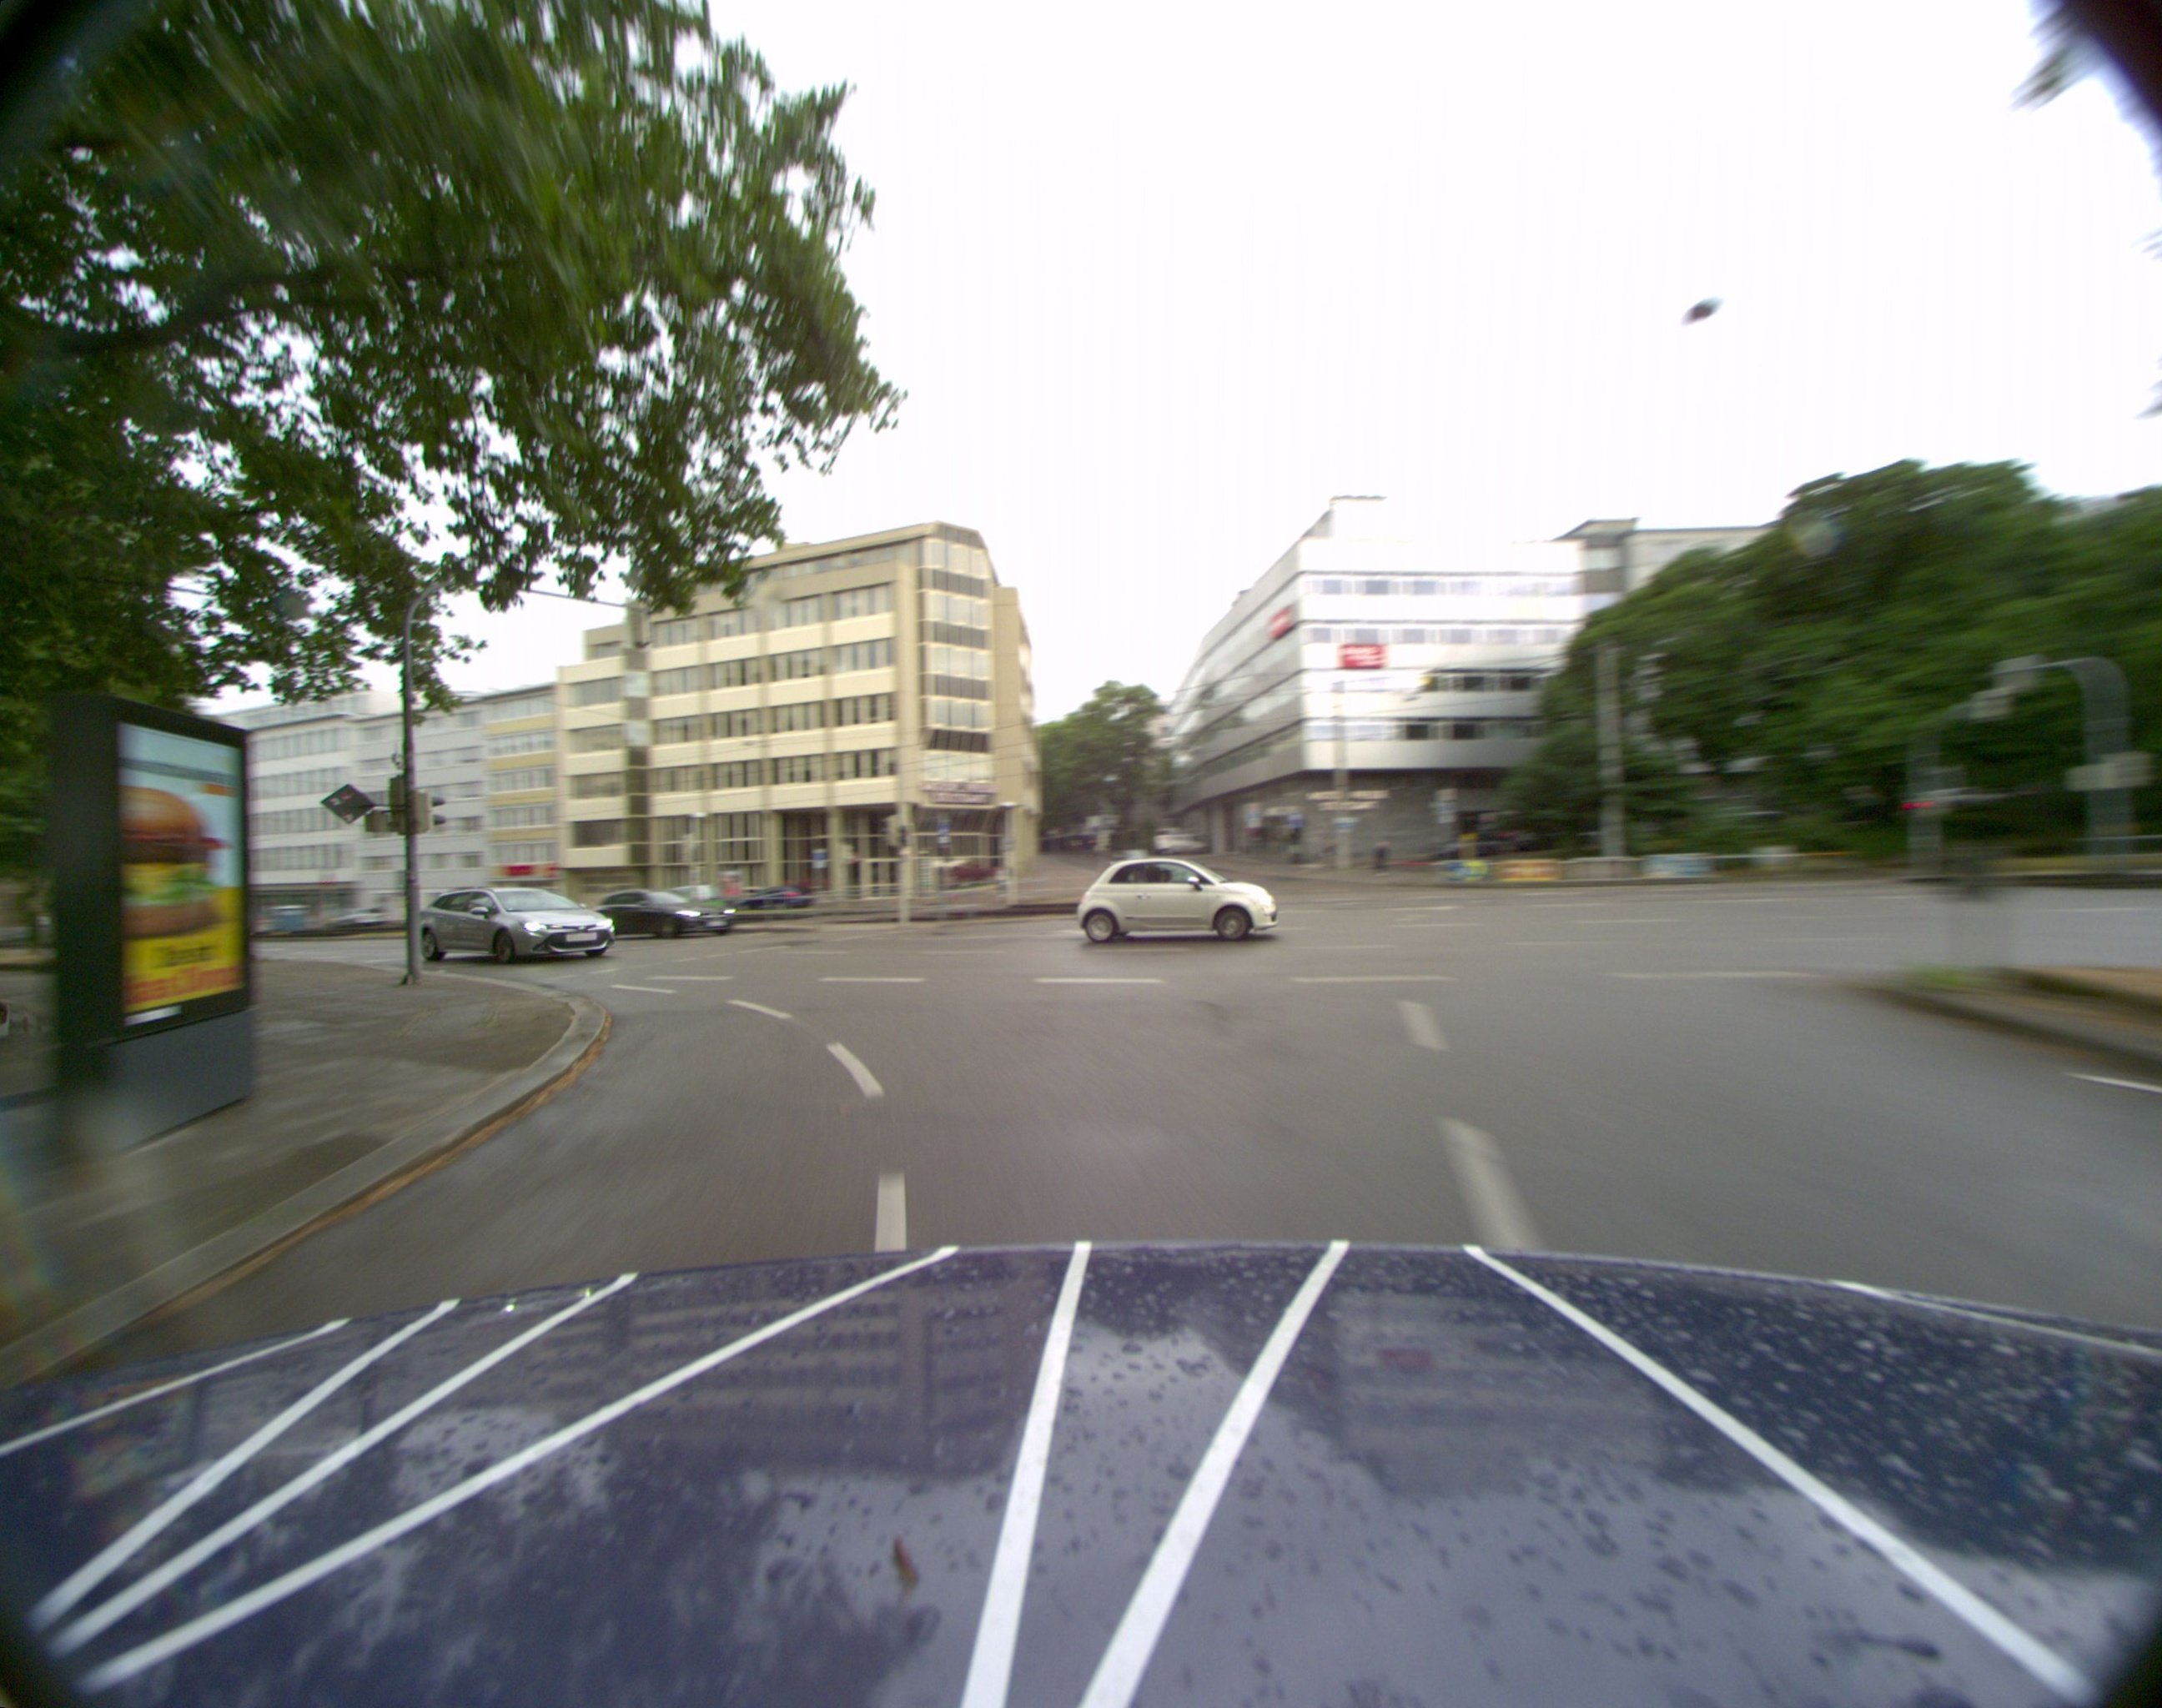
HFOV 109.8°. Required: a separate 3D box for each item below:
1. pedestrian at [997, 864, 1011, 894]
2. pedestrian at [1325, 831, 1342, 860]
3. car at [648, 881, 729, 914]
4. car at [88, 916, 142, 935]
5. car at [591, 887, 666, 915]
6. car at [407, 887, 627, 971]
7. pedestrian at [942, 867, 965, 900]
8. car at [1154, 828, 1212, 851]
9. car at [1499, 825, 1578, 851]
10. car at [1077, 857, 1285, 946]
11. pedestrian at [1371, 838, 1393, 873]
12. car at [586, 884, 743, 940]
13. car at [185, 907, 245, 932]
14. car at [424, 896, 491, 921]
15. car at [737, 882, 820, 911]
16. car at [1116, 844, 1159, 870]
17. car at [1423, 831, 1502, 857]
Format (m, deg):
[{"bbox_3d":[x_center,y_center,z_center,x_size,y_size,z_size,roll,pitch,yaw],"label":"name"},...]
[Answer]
[{"bbox_3d":[-4.290,1.375,42.352,0.720,1.629,0.760,-3,1,-7],"label":"pedestrian"},{"bbox_3d":[16.787,-0.548,50.486,0.760,1.850,0.719,-5,1,-4],"label":"pedestrian"},{"bbox_3d":[-23.426,2.589,45.335,4.208,1.736,1.804,-3,0,19],"label":"car"},{"bbox_3d":[-93.440,6.913,73.526,4.468,1.615,1.893,-3,0,20],"label":"car"},{"bbox_3d":[-28.125,2.901,47.236,4.069,1.505,1.804,-3,0,20],"label":"car"},{"bbox_3d":[-11.242,1.453,15.097,4.287,1.425,1.816,-3,-2,28],"label":"car"},{"bbox_3d":[-6.899,1.599,41.203,0.829,1.776,0.761,-2,1,32],"label":"pedestrian"},{"bbox_3d":[10.016,-1.413,75.059,5.410,2.001,2.001,-2,-2,-1],"label":"car"},{"bbox_3d":[29.139,-1.005,48.451,4.000,1.422,1.877,-3,0,-10],"label":"car"},{"bbox_3d":[1.845,0.860,13.733,3.433,1.425,1.658,-3,-2,18],"label":"car"},{"bbox_3d":[16.326,0.084,41.254,0.720,1.850,0.848,-3,1,-7],"label":"pedestrian"},{"bbox_3d":[-12.050,1.681,21.932,4.464,1.433,1.805,-3,-2,28],"label":"car"},{"bbox_3d":[-75.655,5.714,66.377,4.468,1.924,1.893,-3,0,20],"label":"car"},{"bbox_3d":[-44.033,3.825,53.656,4.069,1.505,1.804,-3,0,20],"label":"car"},{"bbox_3d":[-16.978,2.396,42.624,4.208,1.468,1.805,-3,-2,22],"label":"car"},{"bbox_3d":[4.021,0.198,55.196,2.000,1.572,4.881,-3,3,-9],"label":"car"},{"bbox_3d":[23.936,-0.623,47.705,4.093,1.422,1.877,-3,0,-10],"label":"car"}]
